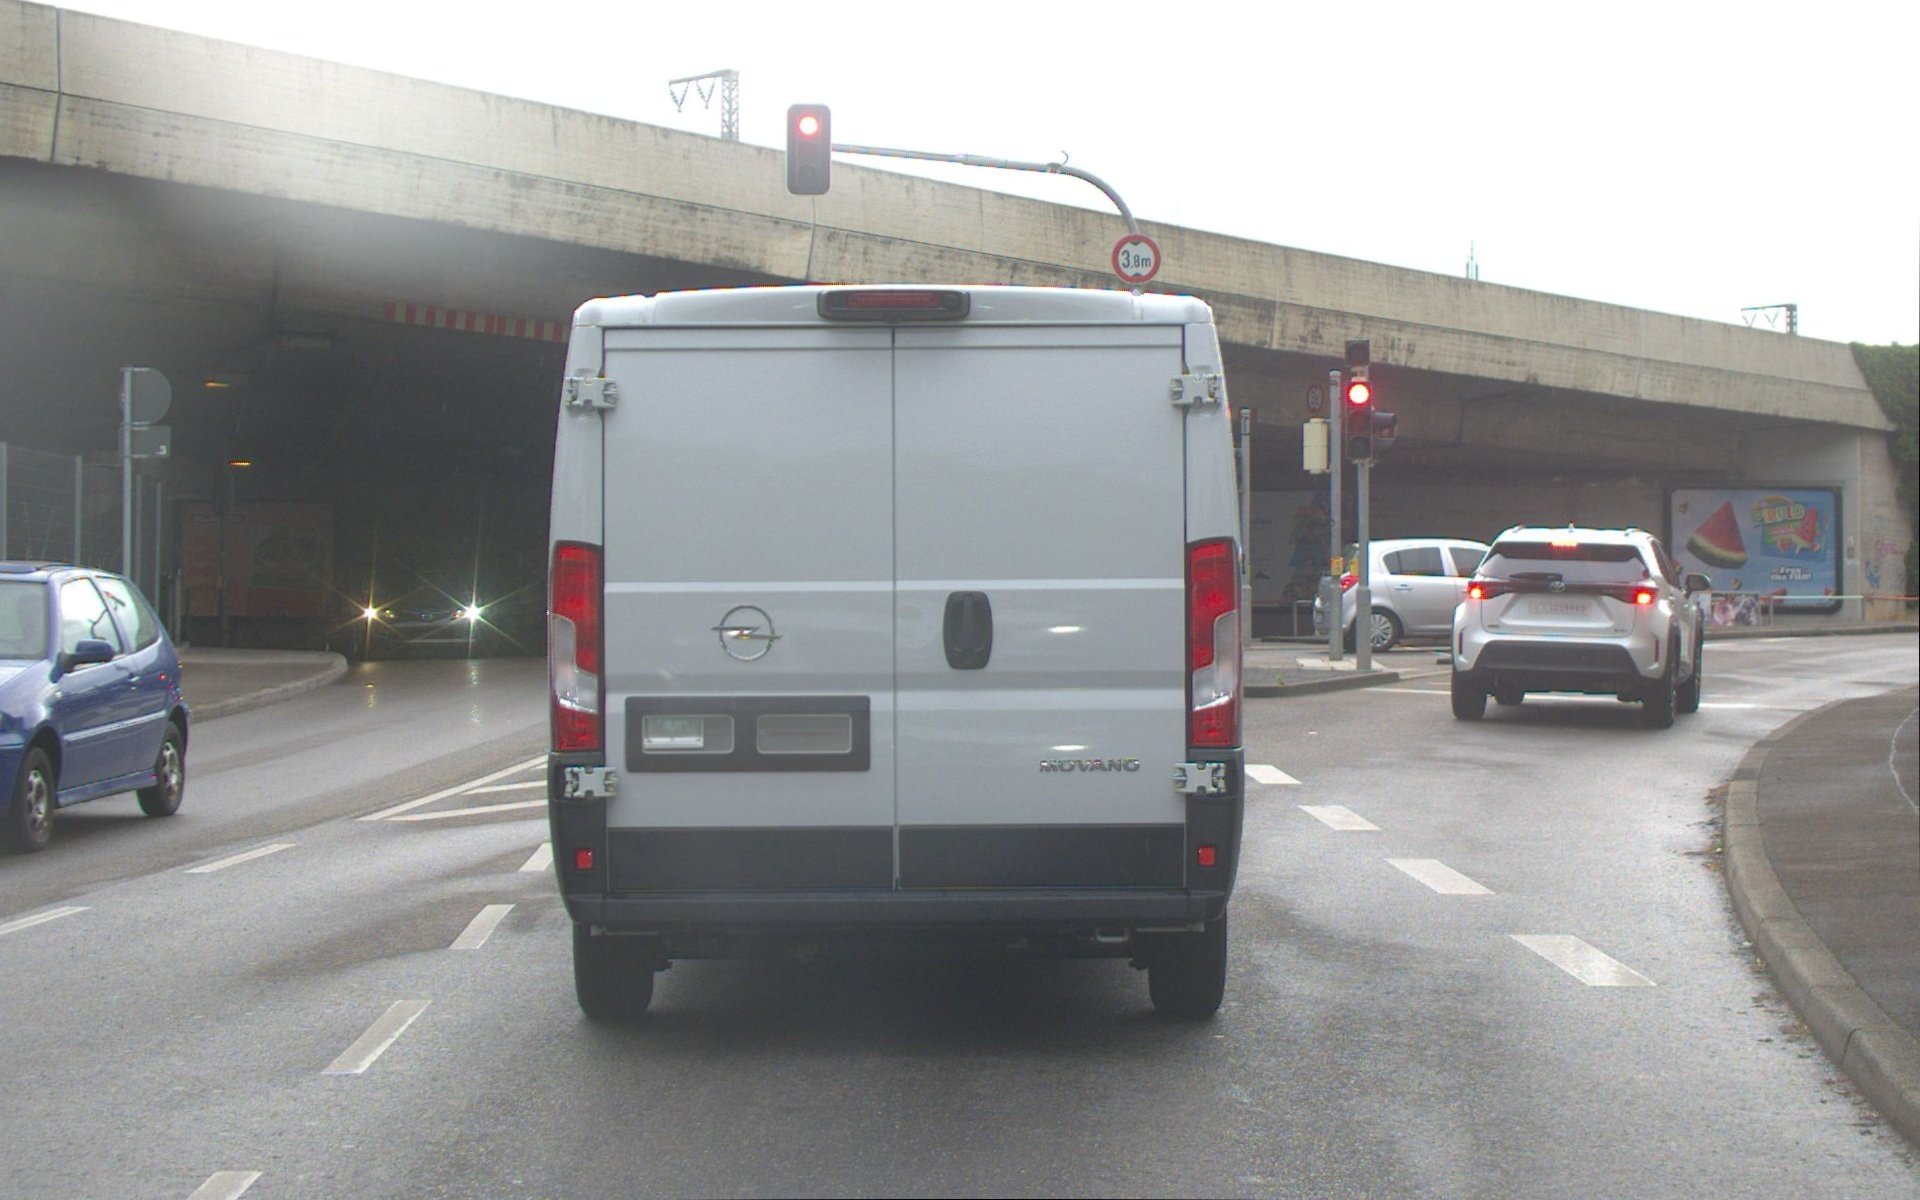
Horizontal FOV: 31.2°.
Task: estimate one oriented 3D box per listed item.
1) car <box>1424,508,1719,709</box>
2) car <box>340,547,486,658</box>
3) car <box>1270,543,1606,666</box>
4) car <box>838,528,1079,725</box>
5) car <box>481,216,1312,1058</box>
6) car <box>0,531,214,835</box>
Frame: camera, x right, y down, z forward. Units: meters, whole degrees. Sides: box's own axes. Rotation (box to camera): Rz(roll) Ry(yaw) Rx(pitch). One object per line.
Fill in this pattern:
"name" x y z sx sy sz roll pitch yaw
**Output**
"car" 5.141 0.070 28.512 1.995 1.544 3.997 0 0 16
"car" -8.098 -0.002 50.614 1.841 1.564 4.414 0 1 -13
"car" 6.229 0.065 45.088 3.986 1.548 2.000 0 0 -6
"car" 0.056 0.238 32.256 1.994 1.723 3.999 0 0 4
"car" -0.140 0.055 12.309 2.305 2.335 5.282 -1 1 1
"car" -5.178 0.351 17.967 1.598 1.421 3.697 0 1 3
